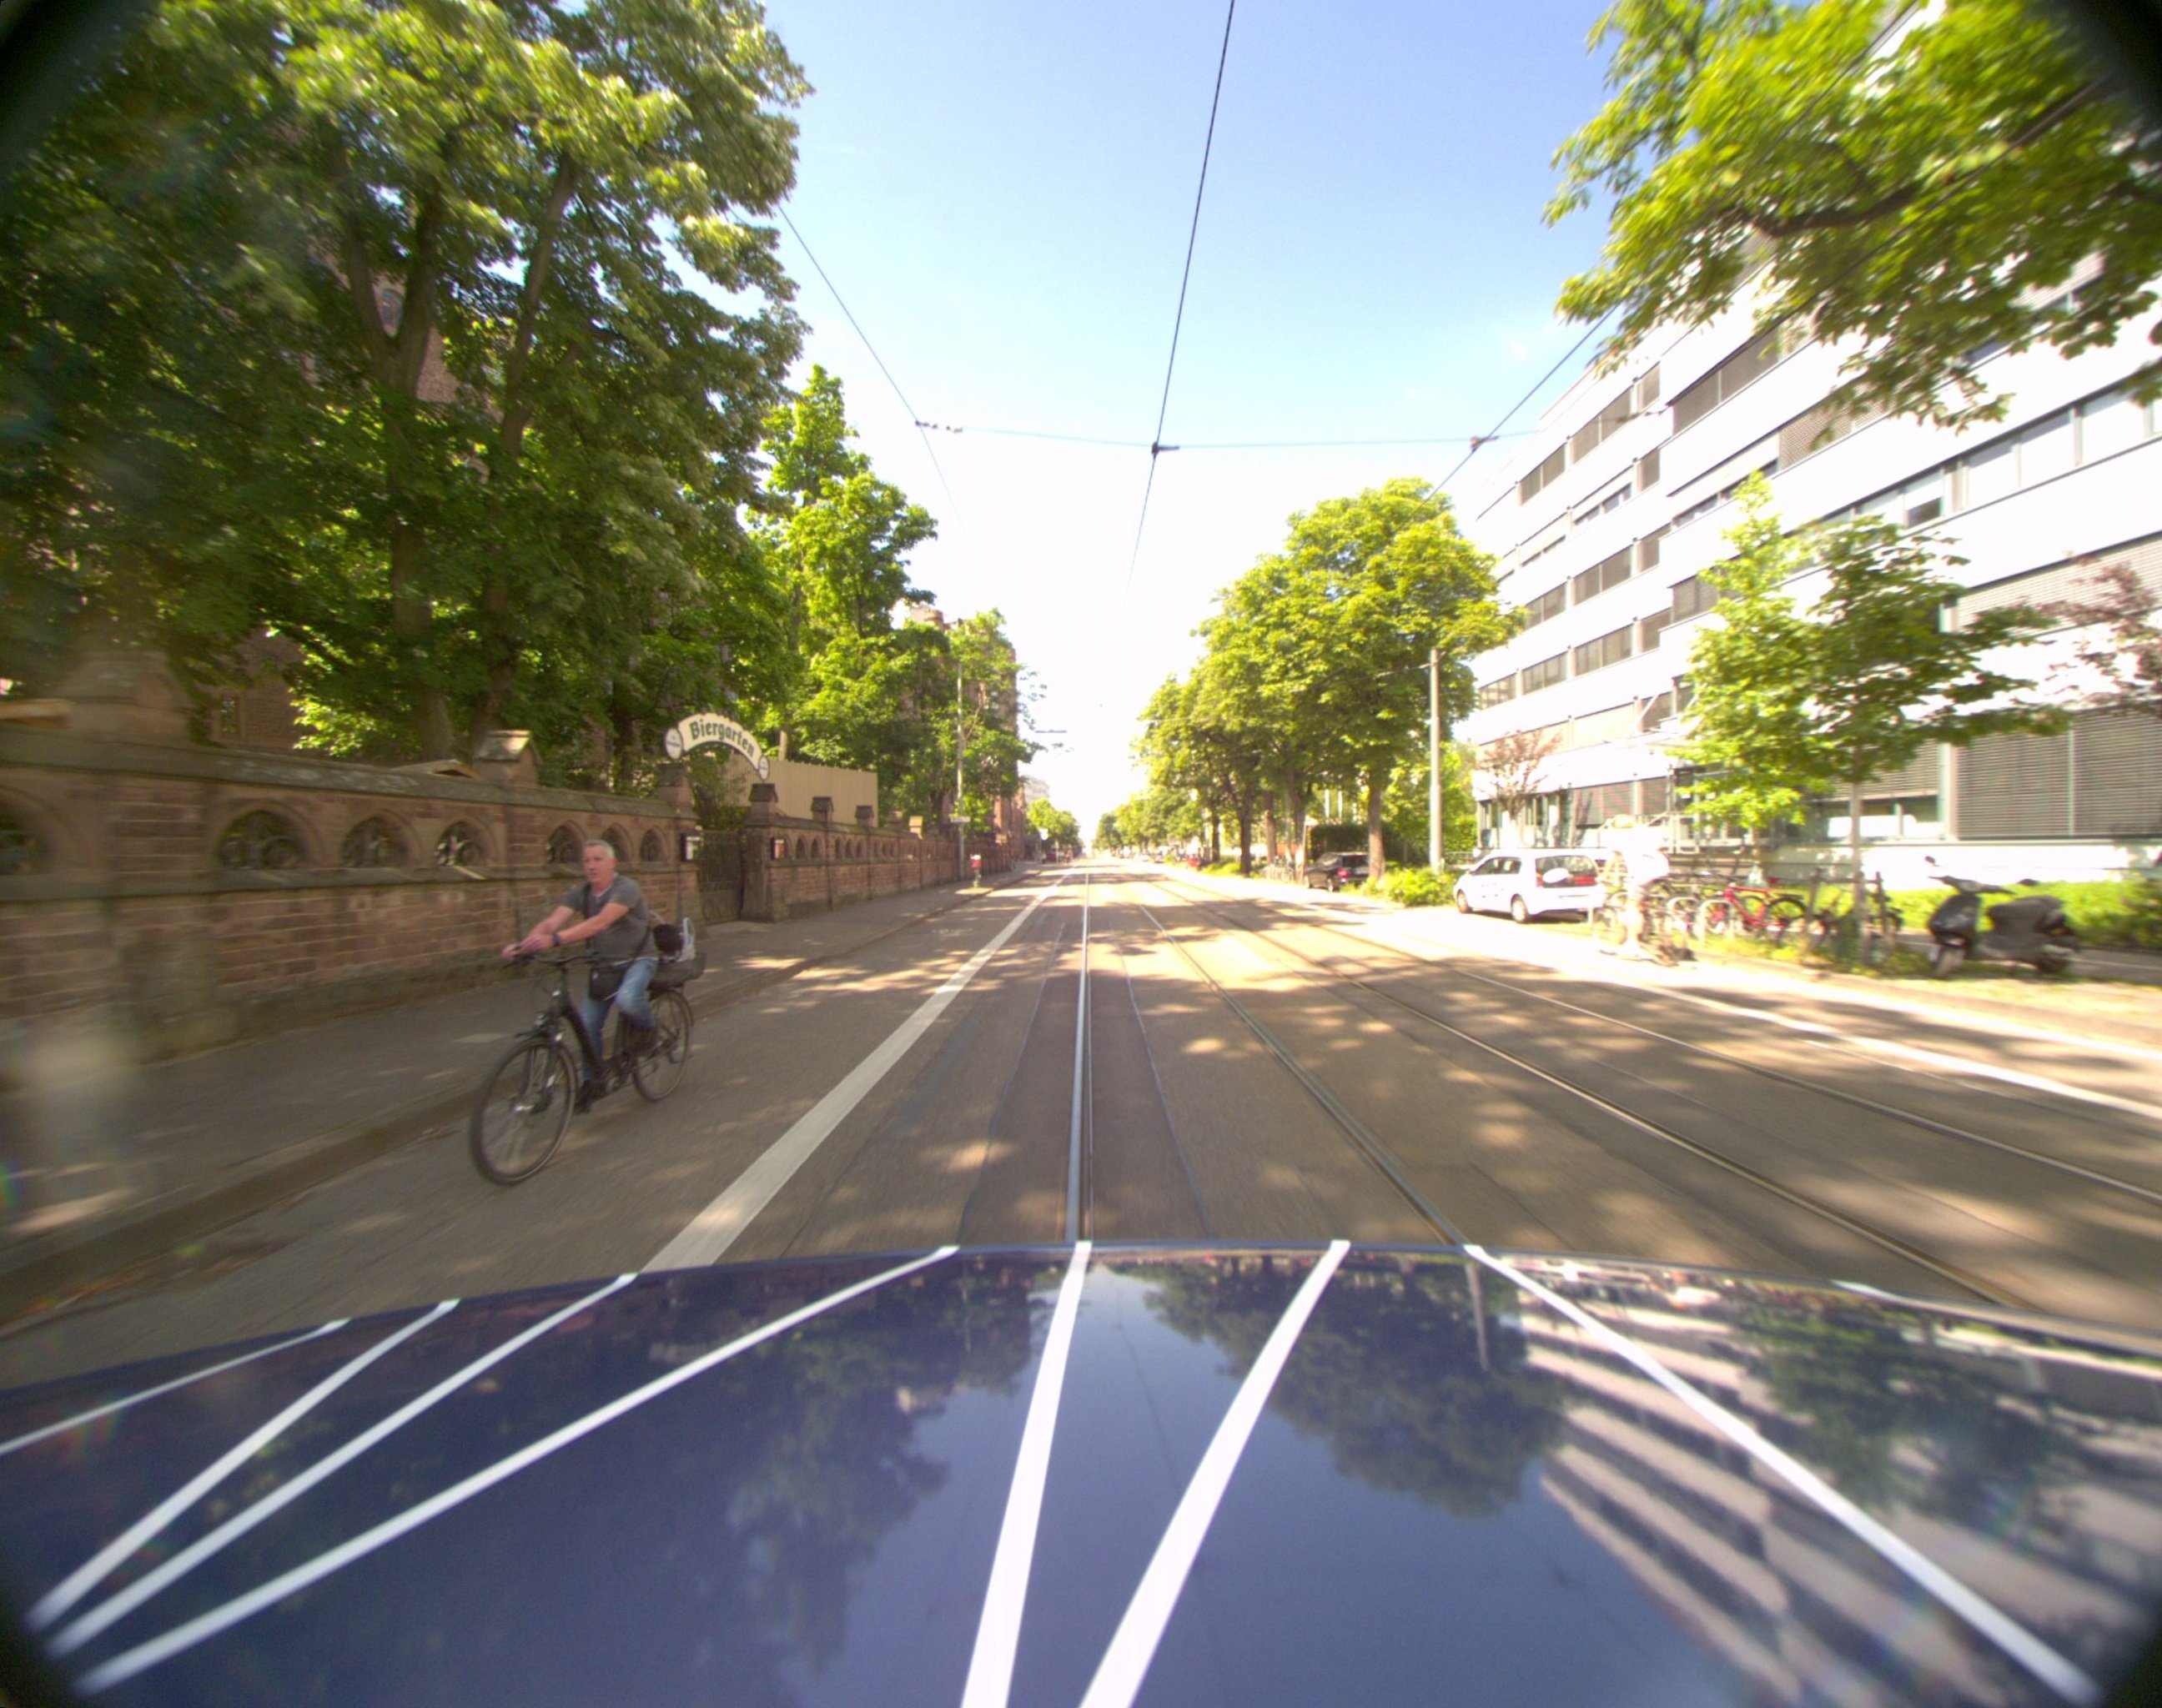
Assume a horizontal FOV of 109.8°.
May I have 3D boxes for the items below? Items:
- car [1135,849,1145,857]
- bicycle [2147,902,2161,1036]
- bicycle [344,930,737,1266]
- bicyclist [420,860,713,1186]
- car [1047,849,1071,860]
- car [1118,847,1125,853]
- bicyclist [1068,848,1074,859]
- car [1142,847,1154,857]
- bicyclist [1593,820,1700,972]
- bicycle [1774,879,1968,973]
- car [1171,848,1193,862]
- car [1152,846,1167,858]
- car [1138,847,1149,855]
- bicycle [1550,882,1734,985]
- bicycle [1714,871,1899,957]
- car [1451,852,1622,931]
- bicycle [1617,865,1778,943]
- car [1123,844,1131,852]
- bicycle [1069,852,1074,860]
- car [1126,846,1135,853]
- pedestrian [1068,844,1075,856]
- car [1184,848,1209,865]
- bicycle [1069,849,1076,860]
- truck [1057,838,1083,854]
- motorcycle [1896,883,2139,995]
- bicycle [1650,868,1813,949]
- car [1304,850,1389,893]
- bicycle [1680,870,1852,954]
[{"bbox_3d":[10.973,-0.203,142.183,1.634,1.463,4.113,-1,1,2],"label":"car"},{"bbox_3d":[9.584,0.922,5.812,1.728,1.080,0.789,-1,1,1],"label":"bicycle"},{"bbox_3d":[-2.810,1.162,4.334,0.611,1.190,2.123,-3,1,1],"label":"bicycle"},{"bbox_3d":[-2.813,0.856,4.293,0.905,1.586,0.964,-3,1,1],"label":"bicyclist"},{"bbox_3d":[-3.899,0.122,135.088,4.007,1.800,1.885,-1,1,-36],"label":"car"},{"bbox_3d":[10.931,-1.072,204.081,1.634,1.560,4.113,-1,1,2],"label":"car"},{"bbox_3d":[-1.319,-0.054,104.017,0.742,1.522,0.947,0,1,2],"label":"bicyclist"},{"bbox_3d":[10.355,-0.370,117.104,1.634,1.463,4.113,-1,1,2],"label":"car"},{"bbox_3d":[7.275,0.515,9.823,0.637,1.860,1.024,-1,1,1],"label":"bicyclist"},{"bbox_3d":[9.750,0.876,9.422,1.728,1.080,0.639,-1,1,1],"label":"bicycle"},{"bbox_3d":[10.307,0.059,77.893,1.634,1.347,3.901,-1,1,-1],"label":"car"},{"bbox_3d":[10.283,-0.302,99.386,1.634,1.463,4.113,-1,1,2],"label":"car"},{"bbox_3d":[10.606,-0.523,129.536,1.634,1.463,4.113,-1,1,2],"label":"car"},{"bbox_3d":[7.257,0.974,10.001,0.858,1.104,2.139,-1,1,1],"label":"bicycle"},{"bbox_3d":[9.795,0.796,10.306,1.797,1.080,0.726,-1,1,1],"label":"bicycle"},{"bbox_3d":[9.599,0.722,16.358,1.633,1.463,3.630,-1,1,2],"label":"car"},{"bbox_3d":[9.820,0.781,12.160,1.909,1.163,0.819,-1,1,1],"label":"bicycle"},{"bbox_3d":[11.065,-1.383,183.225,1.634,1.936,4.113,-1,1,2],"label":"car"},{"bbox_3d":[-1.297,0.261,104.082,0.593,1.099,2.054,-1,1,2],"label":"bicycle"},{"bbox_3d":[10.597,-0.885,162.171,1.634,1.463,4.113,-1,1,2],"label":"car"},{"bbox_3d":[-1.539,-0.720,126.795,1.106,2.002,1.166,-2,1,1],"label":"pedestrian"},{"bbox_3d":[10.259,0.170,67.891,1.634,1.463,3.718,-1,1,-1],"label":"car"},{"bbox_3d":[-1.479,0.141,126.680,0.999,1.734,3.163,-2,1,1],"label":"bicycle"},{"bbox_3d":[-2.671,-2.050,196.345,2.815,3.837,10.016,0,0,23],"label":"truck"},{"bbox_3d":[9.834,0.879,8.021,1.728,1.080,0.658,-1,1,1],"label":"motorcycle"},{"bbox_3d":[9.820,0.807,11.514,1.877,1.135,0.686,-1,1,1],"label":"bicycle"},{"bbox_3d":[9.888,0.589,28.624,1.634,1.474,4.272,-1,1,-1],"label":"car"},{"bbox_3d":[9.818,0.819,10.929,1.853,1.125,0.680,-1,1,1],"label":"bicycle"}]
